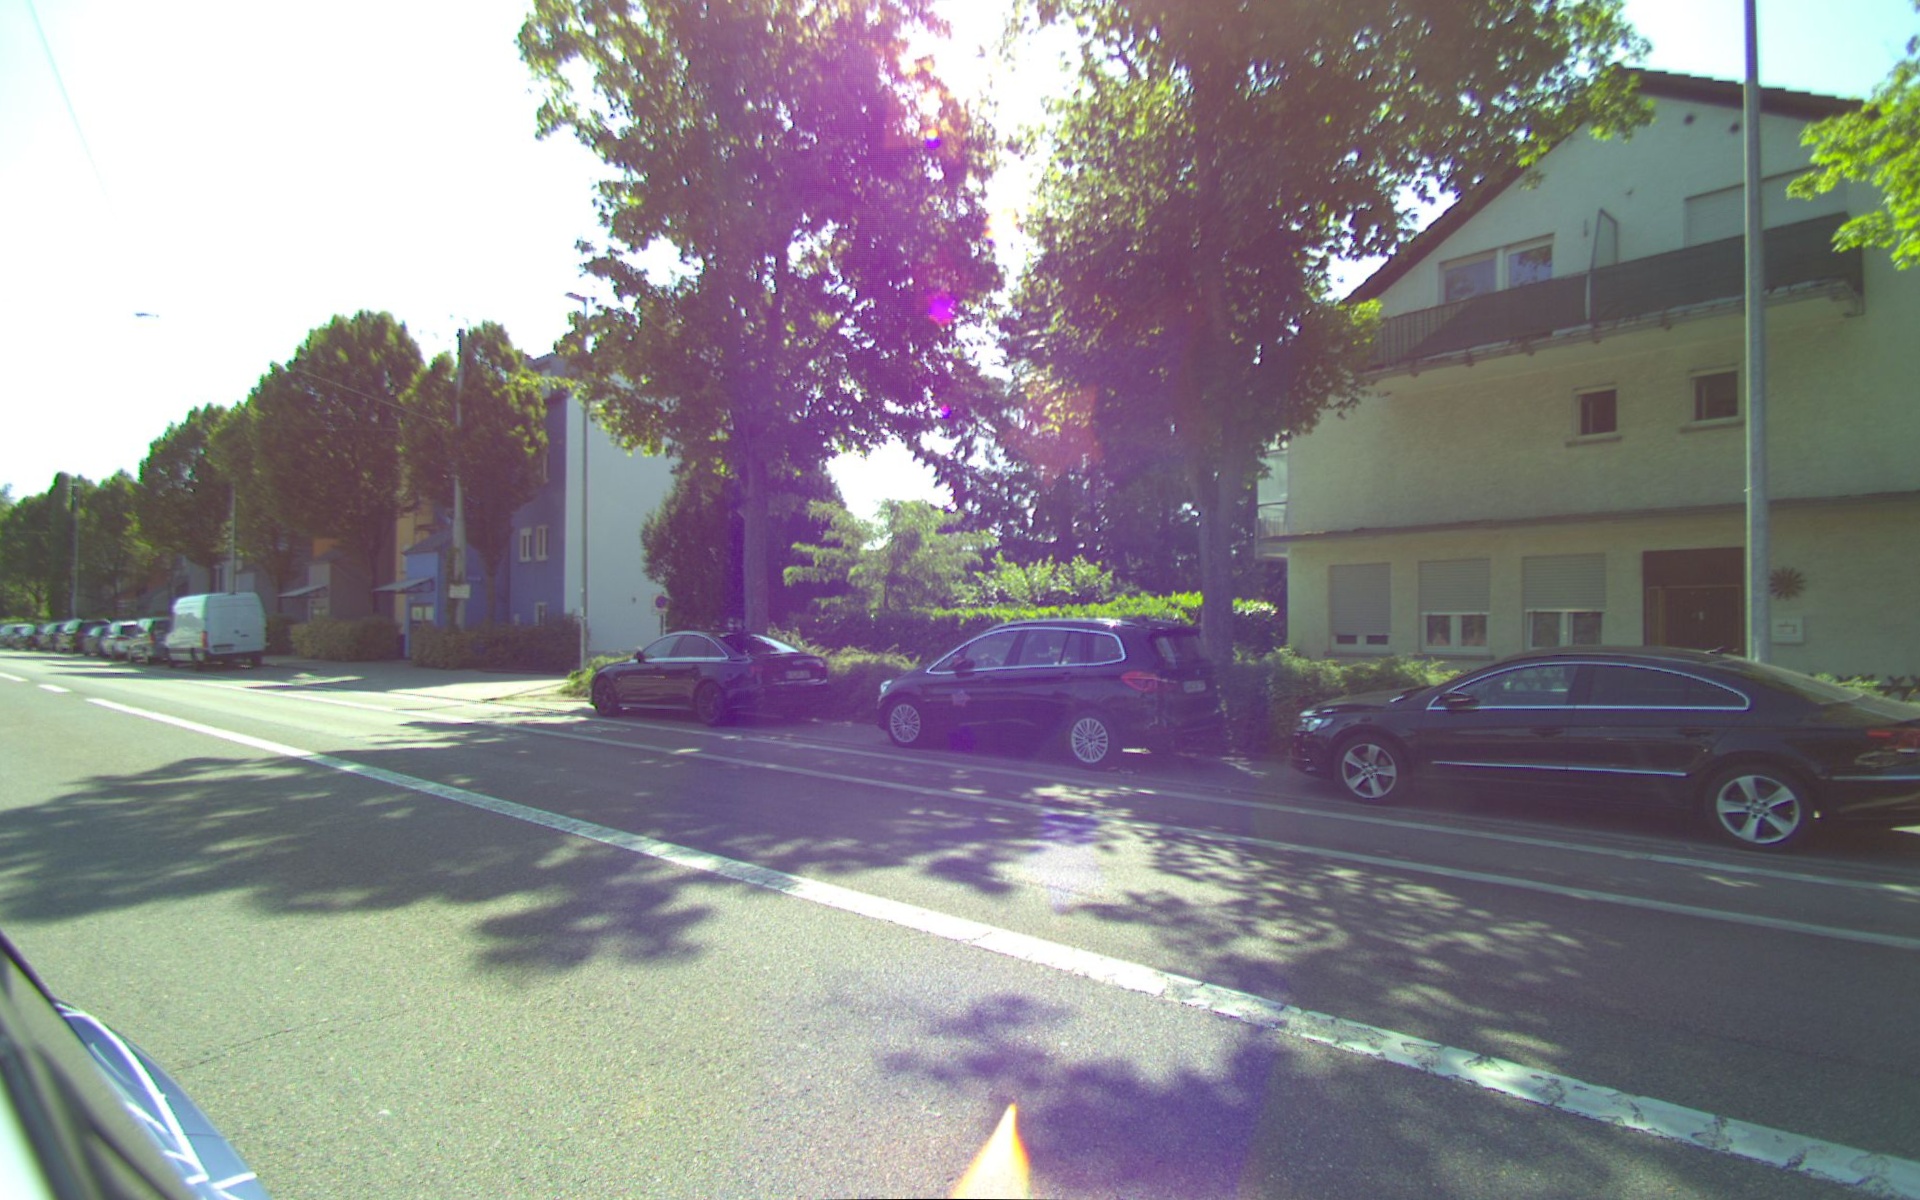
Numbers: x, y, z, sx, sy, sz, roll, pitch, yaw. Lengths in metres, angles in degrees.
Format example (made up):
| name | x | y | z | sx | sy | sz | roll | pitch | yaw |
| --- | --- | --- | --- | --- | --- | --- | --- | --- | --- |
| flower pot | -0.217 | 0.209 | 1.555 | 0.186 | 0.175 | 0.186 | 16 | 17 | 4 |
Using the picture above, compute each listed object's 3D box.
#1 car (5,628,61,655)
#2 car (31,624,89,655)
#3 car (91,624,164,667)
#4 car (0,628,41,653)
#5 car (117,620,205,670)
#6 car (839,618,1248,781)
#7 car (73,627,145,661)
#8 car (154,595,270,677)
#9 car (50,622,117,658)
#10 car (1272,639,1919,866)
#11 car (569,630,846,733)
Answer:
| name | x | y | z | sx | sy | sz | roll | pitch | yaw |
| --- | --- | --- | --- | --- | --- | --- | --- | --- | --- |
| car | -54.937 | 2.441 | 59.959 | 4.206 | 1.481 | 1.662 | -1 | -1 | 37 |
| car | -49.894 | 2.143 | 56.068 | 4.159 | 1.619 | 1.661 | -1 | -1 | 37 |
| car | -37.997 | 2.033 | 46.151 | 4.539 | 1.715 | 1.829 | -1 | 2 | 42 |
| car | -60.067 | 2.530 | 64.158 | 4.826 | 1.457 | 1.663 | -1 | -1 | 35 |
| car | -33.743 | 1.846 | 42.669 | 4.964 | 1.879 | 1.973 | -1 | 2 | 41 |
| car | 0.819 | 1.044 | 12.298 | 4.891 | 1.618 | 1.743 | -1 | -2 | 41 |
| car | -41.787 | 2.124 | 49.660 | 4.069 | 1.466 | 1.849 | -1 | 1 | 37 |
| car | -27.675 | 1.280 | 37.310 | 7.084 | 2.697 | 1.973 | -2 | 1 | 42 |
| car | -45.902 | 2.077 | 52.961 | 4.343 | 1.741 | 1.812 | -1 | 0 | 38 |
| car | 5.222 | 1.052 | 8.390 | 4.779 | 1.390 | 1.673 | -2 | -1 | 41 |
| car | -4.274 | 1.235 | 16.734 | 4.903 | 1.477 | 1.822 | -1 | -2 | 38 |
